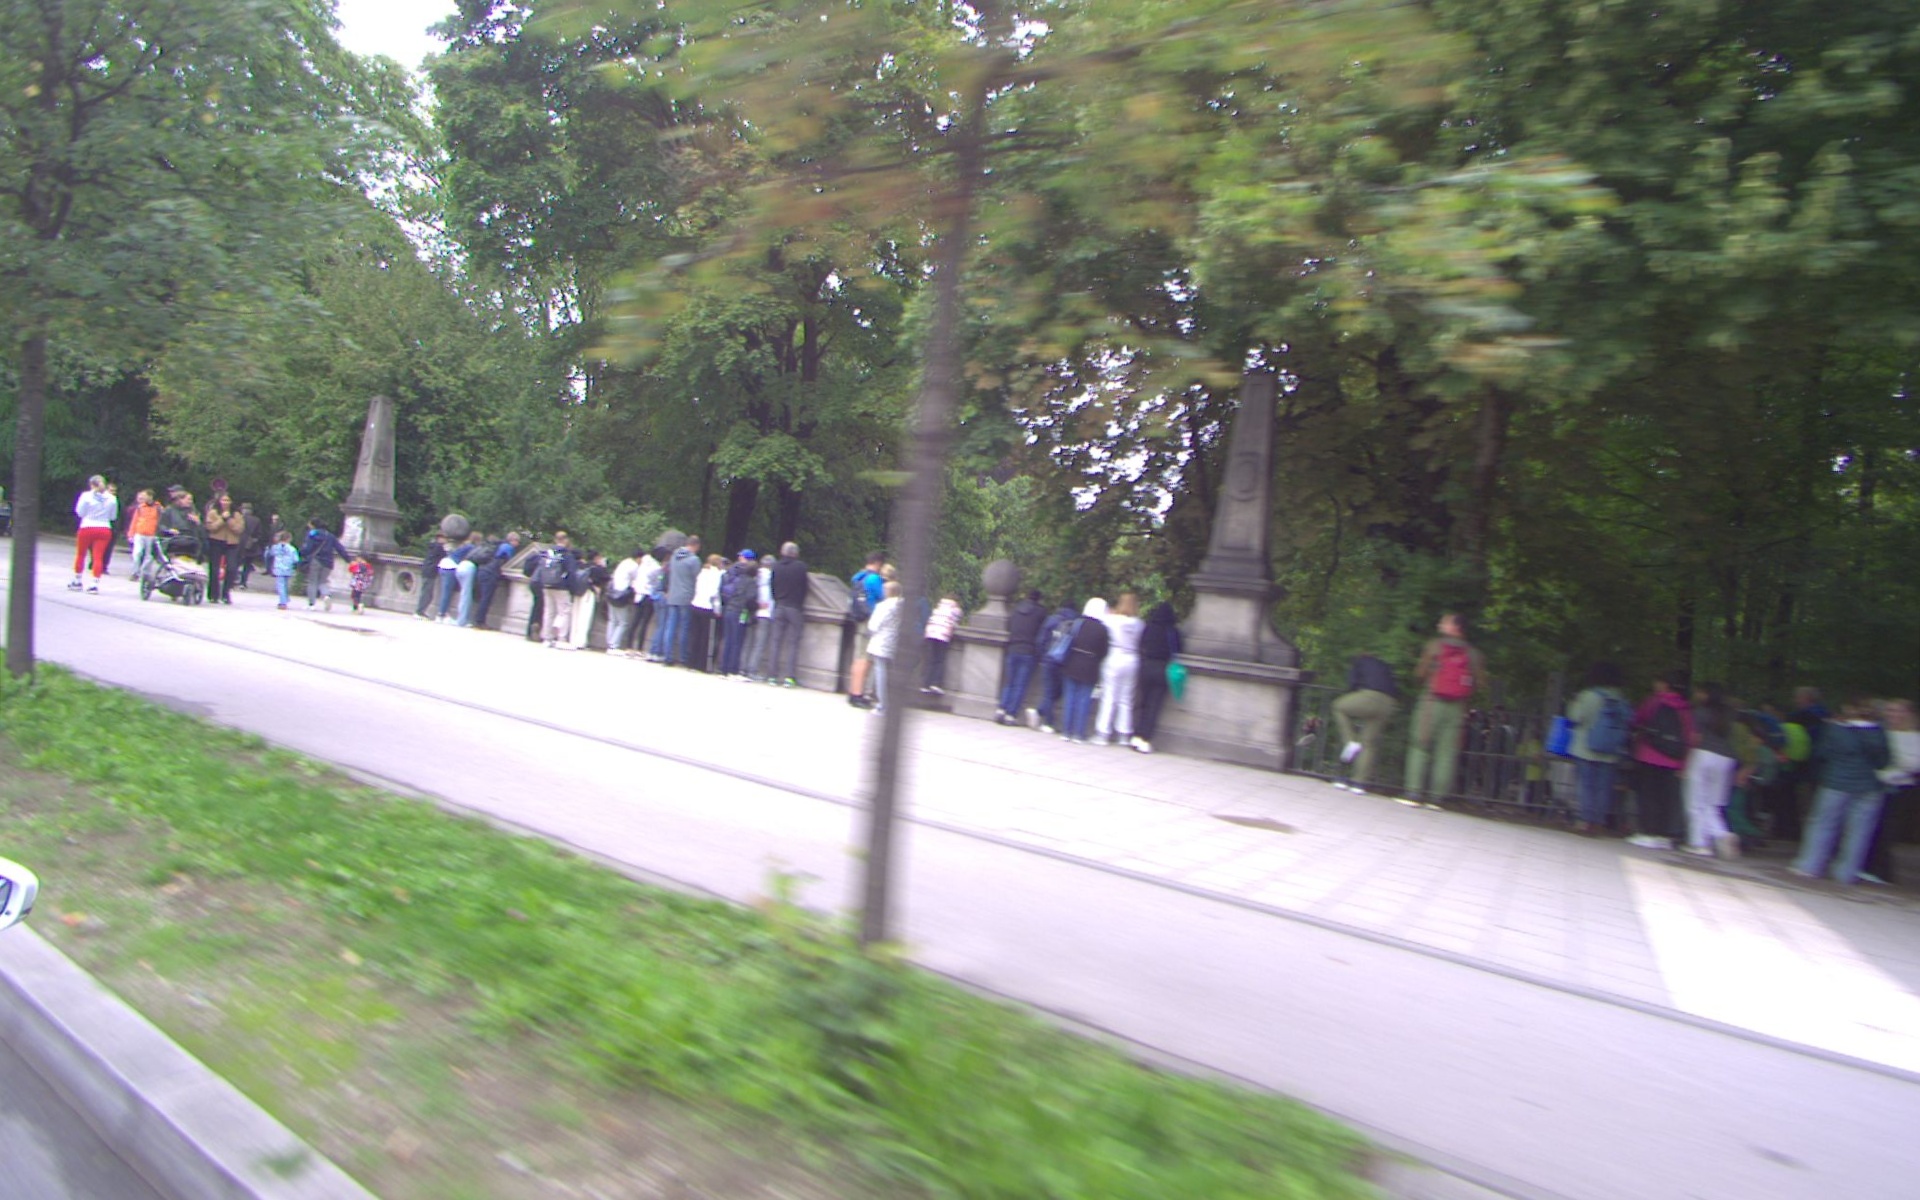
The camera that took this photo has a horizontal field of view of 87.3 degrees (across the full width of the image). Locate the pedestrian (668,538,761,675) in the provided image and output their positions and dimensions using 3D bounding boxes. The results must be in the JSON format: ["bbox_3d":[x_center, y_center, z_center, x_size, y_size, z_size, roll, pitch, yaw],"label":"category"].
[{"bbox_3d":[-3.465,0.097,14.208,0.717,1.811,0.813,6,-1,34],"label":"pedestrian"}]

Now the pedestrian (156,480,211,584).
[{"bbox_3d":[-14.944,-1.305,19.358,0.607,1.894,0.685,8,-1,-42],"label":"pedestrian"}]

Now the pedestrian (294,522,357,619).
[{"bbox_3d":[-10.725,-0.502,16.998,0.638,1.545,0.549,6,-1,37],"label":"pedestrian"}]

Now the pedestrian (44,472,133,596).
[{"bbox_3d":[-12.949,-0.980,14.947,0.638,1.710,0.726,6,-1,37],"label":"pedestrian"}]

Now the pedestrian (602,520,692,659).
[{"bbox_3d":[-4.681,-0.146,15.054,0.717,1.939,0.813,6,-1,34],"label":"pedestrian"}]

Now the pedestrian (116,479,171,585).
[{"bbox_3d":[-15.748,-1.297,19.398,0.607,1.937,0.685,8,-1,-42],"label":"pedestrian"}]

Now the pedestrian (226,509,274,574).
[{"bbox_3d":[-18.817,-1.541,26.666,0.600,1.596,0.693,7,-1,-3],"label":"pedestrian"}]

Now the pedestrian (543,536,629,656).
[{"bbox_3d":[-5.899,-0.060,15.881,0.717,1.759,0.813,6,-1,34],"label":"pedestrian"}]

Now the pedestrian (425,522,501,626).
[{"bbox_3d":[-8.688,-0.449,17.592,0.717,1.712,0.812,6,1,34],"label":"pedestrian"}]

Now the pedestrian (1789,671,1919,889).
[{"bbox_3d":[7.813,1.562,8.791,0.631,1.788,0.529,7,-1,-27],"label":"pedestrian"}]

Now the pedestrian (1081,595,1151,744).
[{"bbox_3d":[1.670,0.744,10.769,0.435,1.525,0.421,6,-1,34],"label":"pedestrian"}]

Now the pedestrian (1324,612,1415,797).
[{"bbox_3d":[3.905,0.989,9.575,0.524,1.646,0.637,6,-1,34],"label":"pedestrian"}]

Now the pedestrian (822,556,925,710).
[{"bbox_3d":[-1.066,0.419,12.442,0.717,1.788,0.813,6,-1,34],"label":"pedestrian"}]

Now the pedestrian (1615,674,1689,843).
[{"bbox_3d":[6.611,1.500,9.625,0.435,1.525,0.421,6,-1,34],"label":"pedestrian"}]

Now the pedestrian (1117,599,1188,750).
[{"bbox_3d":[2.036,0.786,10.630,0.435,1.525,0.421,6,-1,34],"label":"pedestrian"}]

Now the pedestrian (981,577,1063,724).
[{"bbox_3d":[0.735,0.605,11.806,0.524,1.635,0.637,6,-1,34],"label":"pedestrian"}]

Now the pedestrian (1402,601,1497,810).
[{"bbox_3d":[4.483,0.956,9.201,0.524,1.788,0.637,6,-1,34],"label":"pedestrian"}]

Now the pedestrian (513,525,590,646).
[{"bbox_3d":[-6.150,-0.212,15.157,0.717,1.710,0.592,6,-1,34],"label":"pedestrian"}]

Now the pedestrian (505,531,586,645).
[{"bbox_3d":[-6.648,-0.184,16.151,0.717,1.712,0.812,6,1,34],"label":"pedestrian"}]

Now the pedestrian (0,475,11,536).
[{"bbox_3d":[-26.933,-2.657,27.971,0.629,1.686,0.566,8,-1,-43],"label":"pedestrian"}]

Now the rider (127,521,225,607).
[{"bbox_3d":[-11.734,-0.538,15.061,1.225,1.125,0.765,6,-2,37],"label":"rider"}]

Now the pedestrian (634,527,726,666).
[{"bbox_3d":[-4.065,-0.040,14.651,0.717,1.896,0.813,6,-1,34],"label":"pedestrian"}]

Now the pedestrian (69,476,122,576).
[{"bbox_3d":[-17.334,-1.478,20.171,0.607,1.894,0.685,8,-1,-42],"label":"pedestrian"}]

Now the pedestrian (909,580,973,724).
[{"bbox_3d":[-0.227,0.645,12.457,0.435,1.723,0.421,6,-1,33],"label":"pedestrian"}]

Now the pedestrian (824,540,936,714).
[{"bbox_3d":[-0.898,0.320,11.396,0.717,1.850,0.813,6,-1,34],"label":"pedestrian"}]

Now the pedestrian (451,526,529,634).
[{"bbox_3d":[-8.029,-0.336,17.192,0.717,1.711,0.812,6,0,34],"label":"pedestrian"}]

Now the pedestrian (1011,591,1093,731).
[{"bbox_3d":[1.064,0.707,11.556,0.524,1.525,0.637,6,-1,34],"label":"pedestrian"}]

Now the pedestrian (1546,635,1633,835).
[{"bbox_3d":[6.049,1.277,9.658,0.524,1.788,0.637,6,-1,34],"label":"pedestrian"}]

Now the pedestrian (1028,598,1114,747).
[{"bbox_3d":[1.217,0.789,10.957,0.524,1.525,0.637,6,-1,34],"label":"pedestrian"}]

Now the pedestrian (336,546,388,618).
[{"bbox_3d":[-10.352,-0.313,17.419,0.638,1.166,0.458,6,-1,37],"label":"pedestrian"}]

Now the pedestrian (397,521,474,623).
[{"bbox_3d":[-9.472,-0.499,18.164,0.717,1.710,0.813,6,-1,34],"label":"pedestrian"}]

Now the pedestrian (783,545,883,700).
[{"bbox_3d":[-1.639,0.300,13.017,0.717,1.873,0.813,6,-1,34],"label":"pedestrian"}]

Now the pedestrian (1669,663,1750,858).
[{"bbox_3d":[7.017,1.485,9.433,0.435,1.723,0.421,6,-1,34],"label":"pedestrian"}]

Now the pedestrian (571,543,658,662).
[{"bbox_3d":[-5.309,0.047,15.487,0.717,1.710,0.813,6,-1,34],"label":"pedestrian"}]

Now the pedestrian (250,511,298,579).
[{"bbox_3d":[-18.146,-1.439,26.636,0.600,1.671,0.693,7,-1,-1],"label":"pedestrian"}]

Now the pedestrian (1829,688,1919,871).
[{"bbox_3d":[9.625,1.863,10.480,0.631,1.788,0.529,7,-1,-27],"label":"pedestrian"}]

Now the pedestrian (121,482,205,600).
[{"bbox_3d":[-12.405,-0.910,15.673,0.638,1.710,0.726,6,-1,37],"label":"pedestrian"}]

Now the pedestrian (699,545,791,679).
[{"bbox_3d":[-2.932,0.175,13.733,0.663,1.710,0.813,6,-1,34],"label":"pedestrian"}]

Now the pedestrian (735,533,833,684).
[{"bbox_3d":[-2.325,0.123,13.332,0.717,1.873,0.813,6,-1,34],"label":"pedestrian"}]

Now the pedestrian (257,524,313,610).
[{"bbox_3d":[-11.179,-0.547,16.666,0.638,1.342,0.458,6,-1,37],"label":"pedestrian"}]

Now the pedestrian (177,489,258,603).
[{"bbox_3d":[-11.955,-0.857,16.202,0.638,1.710,0.726,6,-1,37],"label":"pedestrian"}]

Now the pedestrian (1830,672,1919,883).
[{"bbox_3d":[8.413,1.588,9.067,0.631,1.788,0.529,7,-1,-27],"label":"pedestrian"}]
